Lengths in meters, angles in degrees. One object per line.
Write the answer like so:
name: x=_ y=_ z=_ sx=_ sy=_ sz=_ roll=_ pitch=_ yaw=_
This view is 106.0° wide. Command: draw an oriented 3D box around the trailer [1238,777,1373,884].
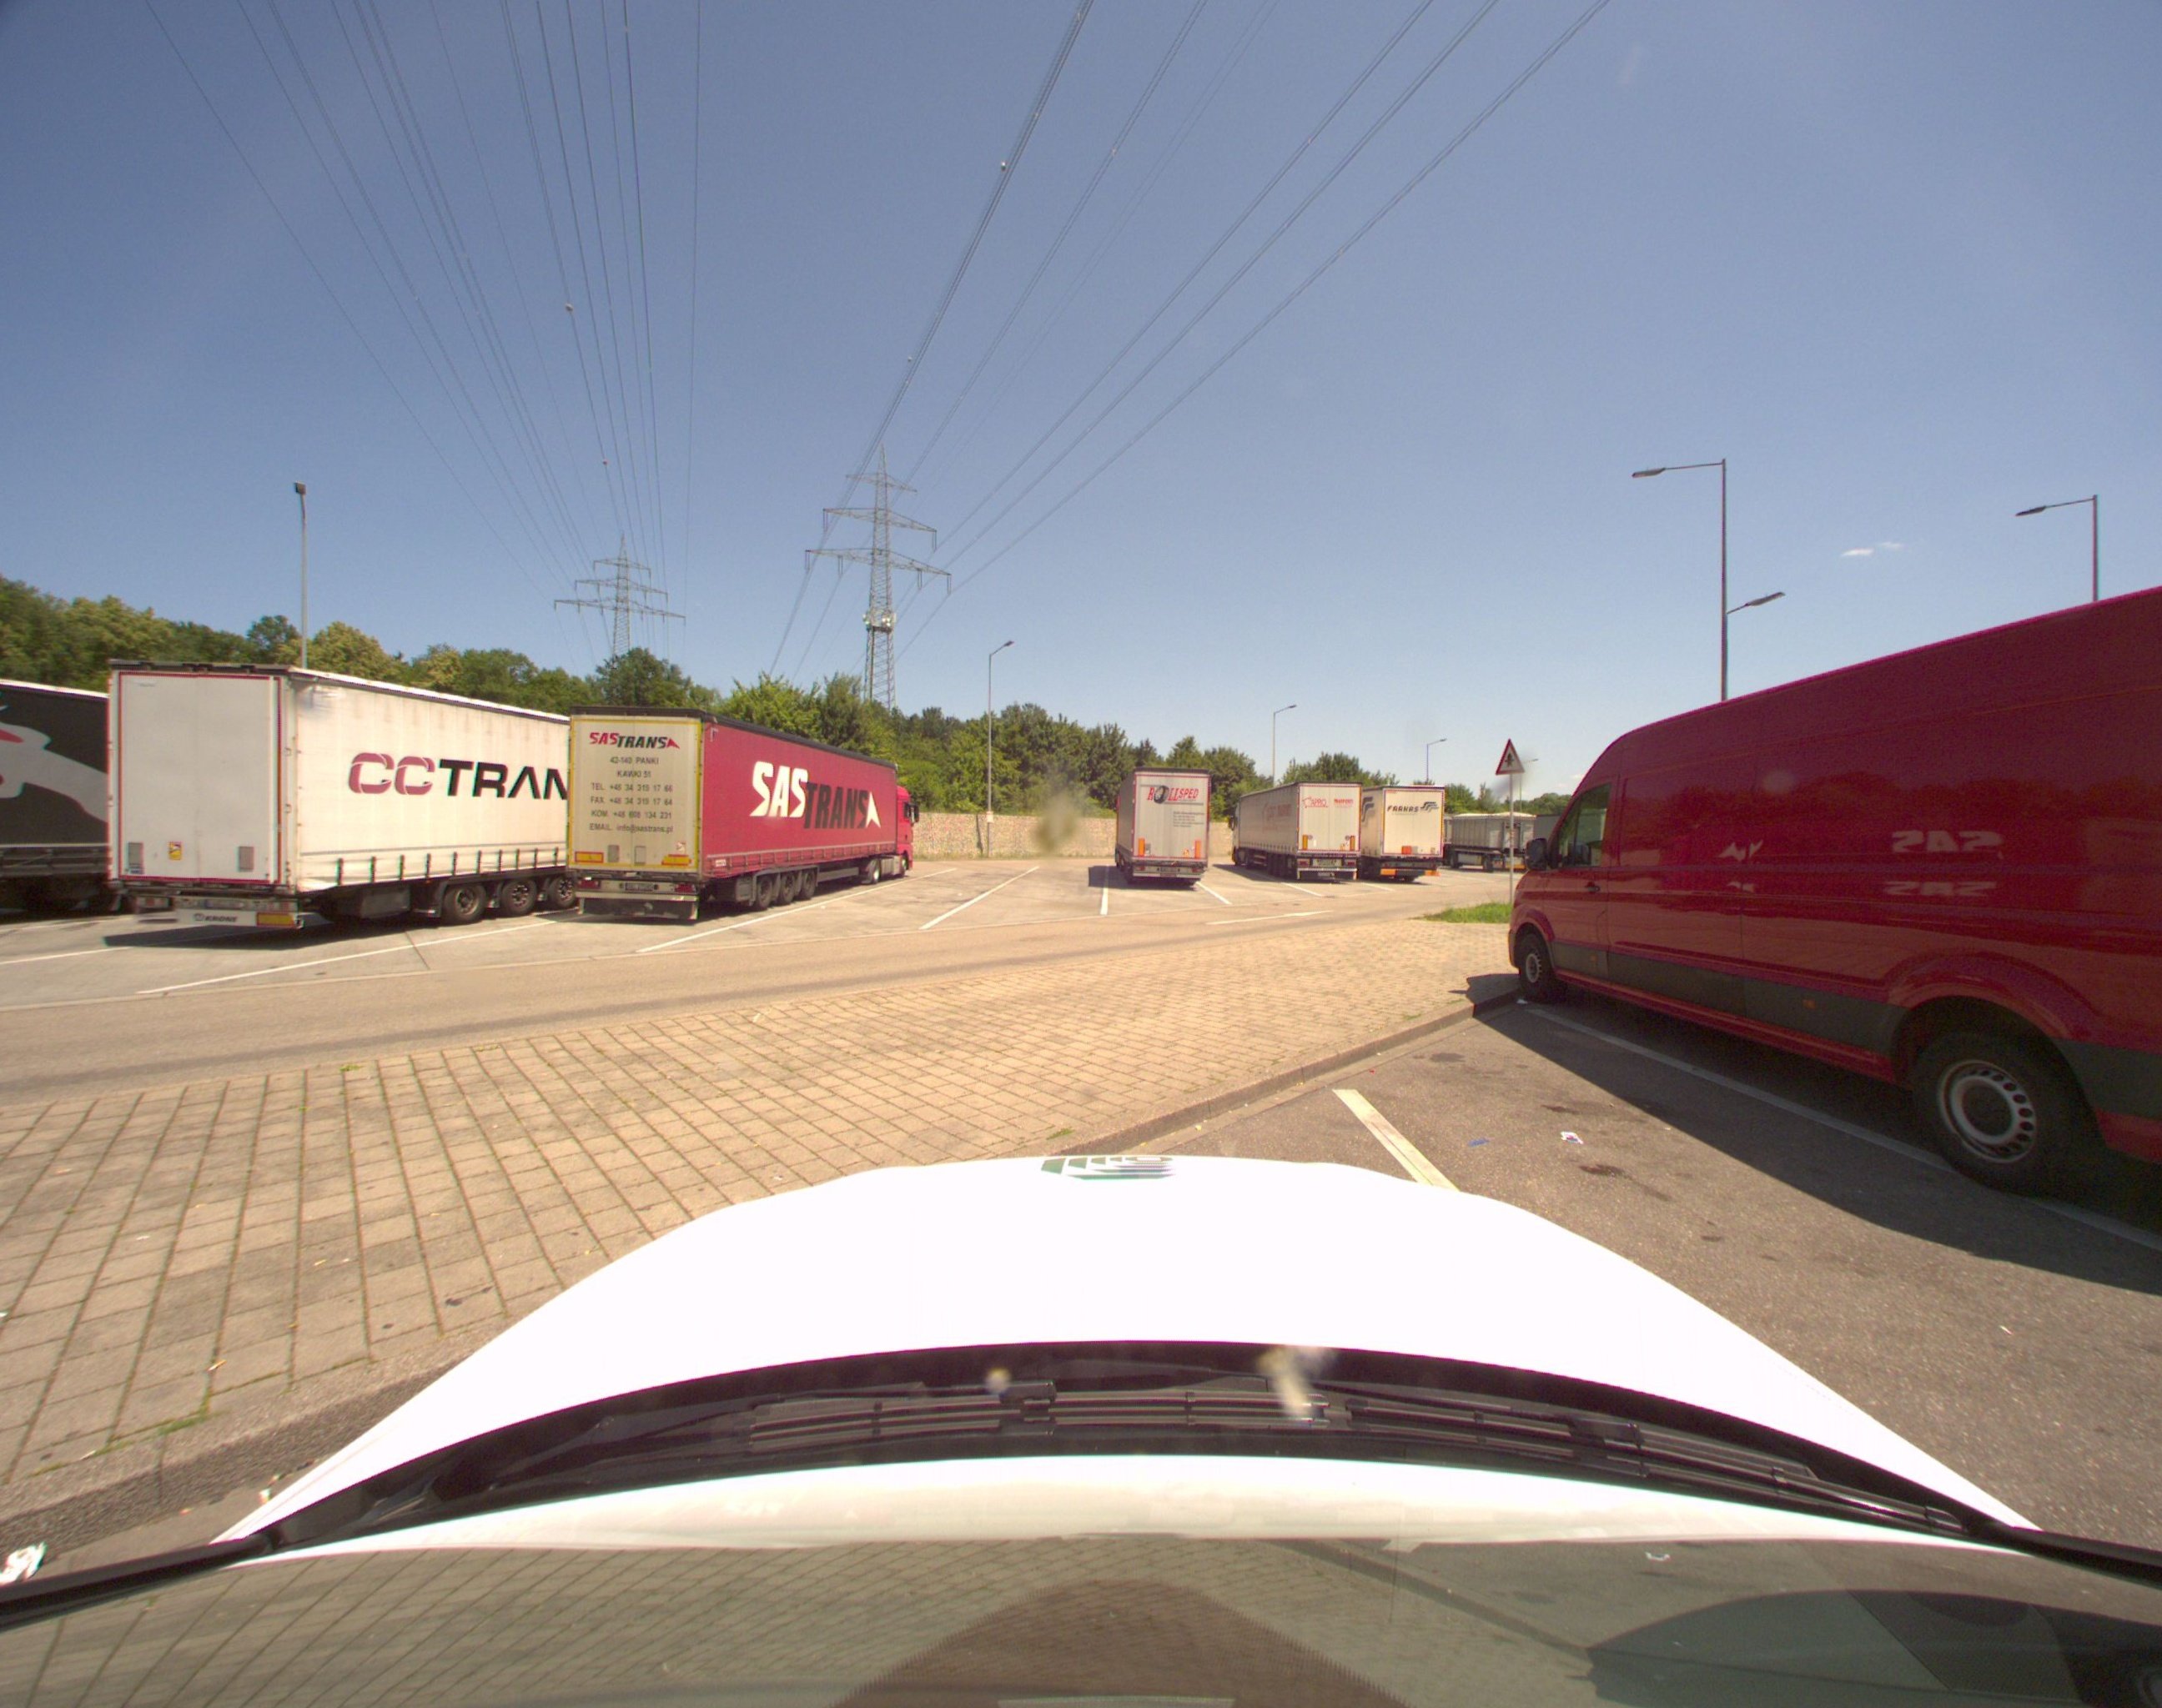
trailer: x=9.986 y=-1.122 z=38.320 sx=2.847 sy=4.109 sz=13.770 roll=1 pitch=2 yaw=2

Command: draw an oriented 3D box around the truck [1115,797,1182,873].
truck: x=3.145 y=-0.940 z=39.431 sx=2.855 sy=3.362 sz=5.977 roll=1 pitch=2 yaw=2

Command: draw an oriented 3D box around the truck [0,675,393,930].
truck: x=-18.543 y=-0.935 z=15.848 sx=2.696 sy=4.070 sz=8.694 roll=1 pitch=2 yaw=2

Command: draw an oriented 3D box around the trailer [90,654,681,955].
trailer: x=-12.154 y=-0.839 z=16.441 sx=2.696 sy=4.101 sz=10.395 roll=1 pitch=2 yaw=2

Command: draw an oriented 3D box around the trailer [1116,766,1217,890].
trailer: x=3.054 y=-1.049 z=33.229 sx=2.848 sy=3.971 sz=13.767 roll=1 pitch=2 yaw=1

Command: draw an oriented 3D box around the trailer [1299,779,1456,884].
trailer: x=13.614 y=-1.097 z=39.244 sx=2.847 sy=4.109 sz=13.770 roll=1 pitch=2 yaw=2

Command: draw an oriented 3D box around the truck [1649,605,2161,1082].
truck: x=8.009 y=-0.072 z=6.905 sx=2.406 sy=2.906 sz=6.466 roll=-1 pitch=0 yaw=6

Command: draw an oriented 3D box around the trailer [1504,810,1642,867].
trailer: x=38.225 y=-1.304 z=64.202 sx=2.847 sy=3.904 sz=13.770 roll=1 pitch=2 yaw=2

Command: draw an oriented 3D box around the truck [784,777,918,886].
truck: x=-7.826 y=-0.793 z=28.562 sx=2.801 sy=3.362 sz=5.977 roll=1 pitch=2 yaw=2

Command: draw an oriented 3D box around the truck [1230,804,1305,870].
truck: x=10.184 y=-0.980 z=45.084 sx=2.855 sy=3.362 sz=5.977 roll=1 pitch=2 yaw=2

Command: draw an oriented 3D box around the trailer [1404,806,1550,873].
trailer: x=24.446 y=-1.000 z=51.520 sx=2.847 sy=3.599 sz=13.770 roll=1 pitch=2 yaw=2

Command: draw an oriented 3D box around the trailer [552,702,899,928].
trailer: x=-8.040 y=-0.926 z=21.746 sx=2.811 sy=4.070 sz=13.770 roll=1 pitch=2 yaw=2

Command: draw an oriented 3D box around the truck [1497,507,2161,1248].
truck: x=5.150 y=0.080 z=5.472 sx=2.001 sy=2.651 sz=6.466 roll=-1 pitch=0 yaw=6

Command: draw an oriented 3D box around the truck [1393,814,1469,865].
truck: x=24.631 y=-1.088 z=57.617 sx=2.855 sy=3.362 sz=5.977 roll=1 pitch=2 yaw=2
